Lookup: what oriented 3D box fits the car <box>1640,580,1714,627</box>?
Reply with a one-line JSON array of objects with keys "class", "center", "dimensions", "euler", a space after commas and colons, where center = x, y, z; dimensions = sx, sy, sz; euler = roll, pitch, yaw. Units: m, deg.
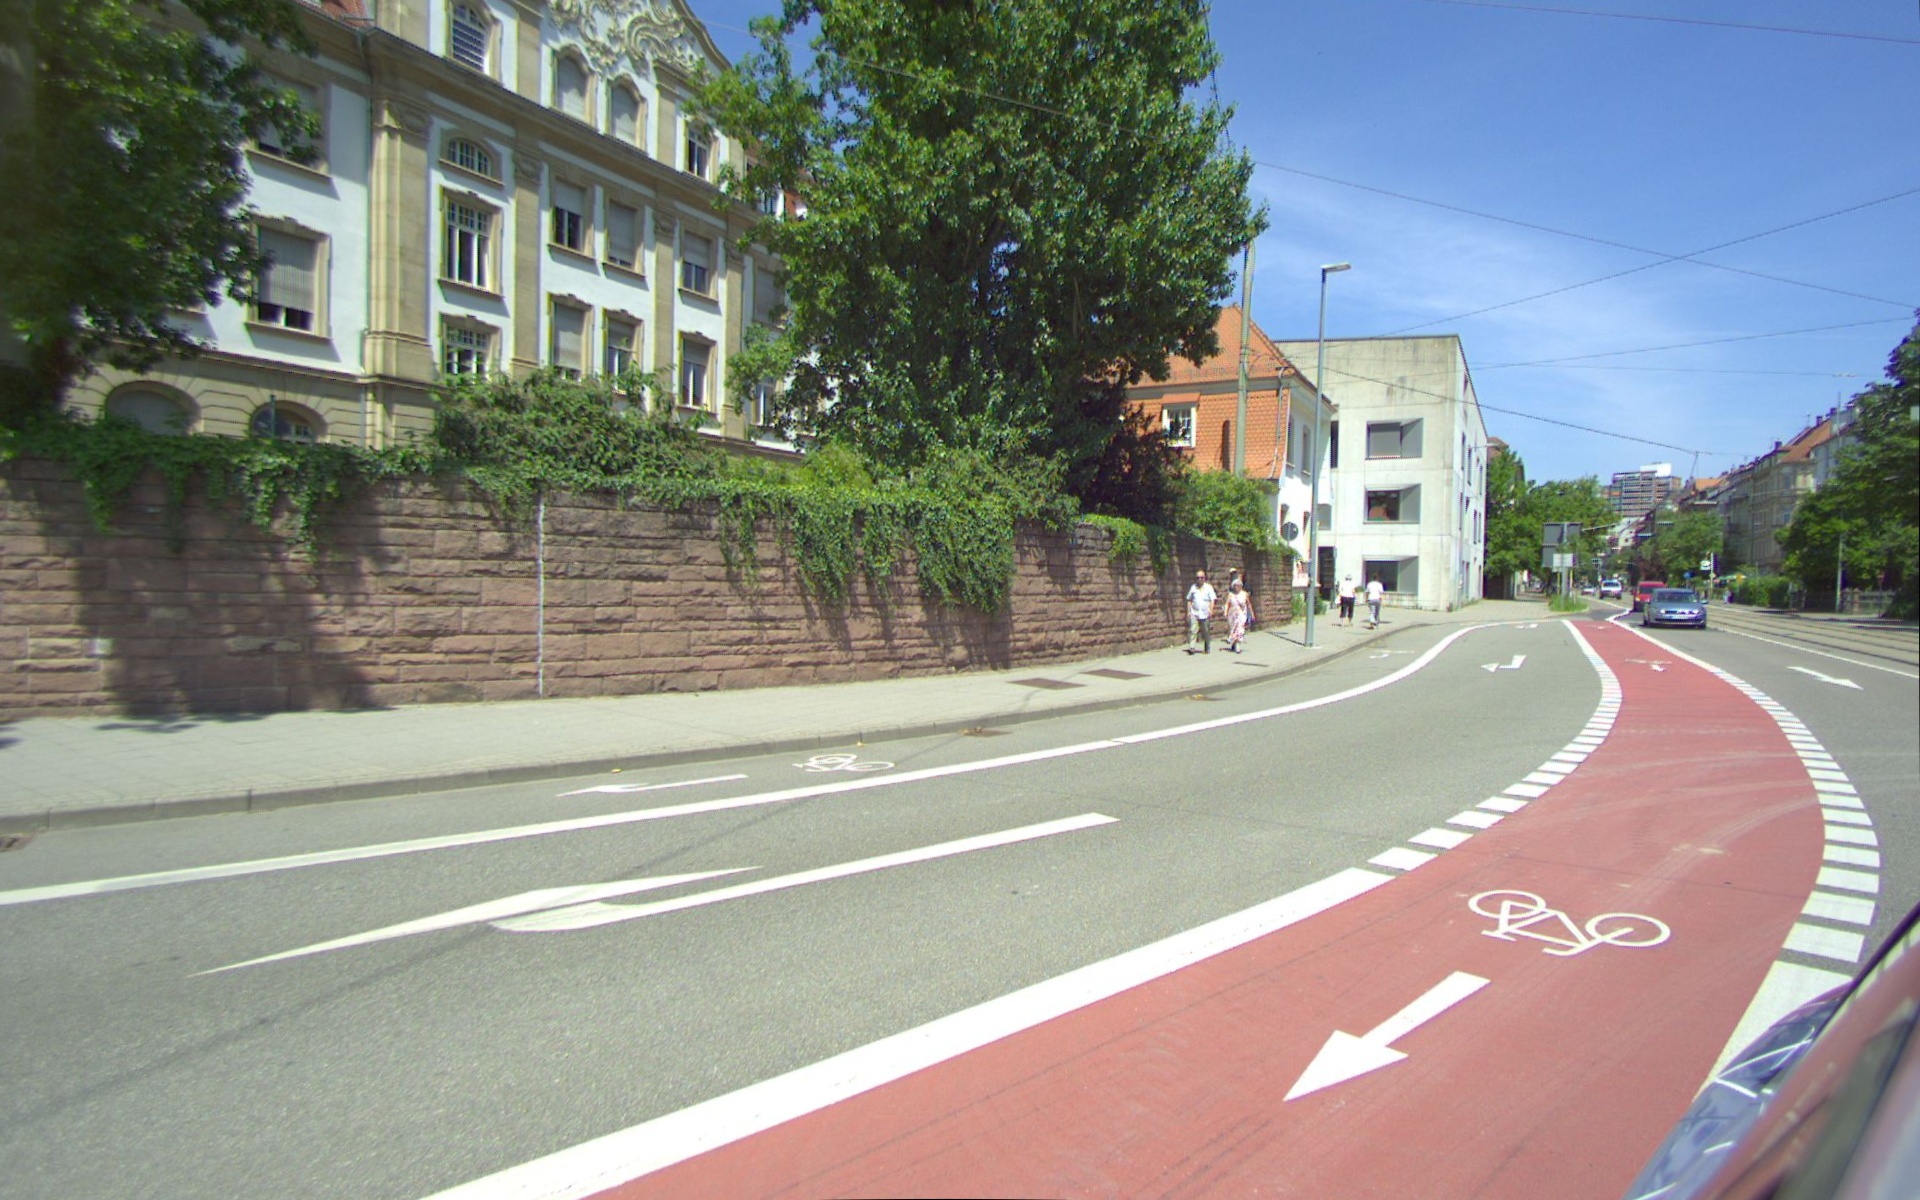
[{"class": "car", "center": [26.834, 0.087, 37.975], "dimensions": [1.879, 1.589, 3.995], "euler": [1, 3, 30]}]

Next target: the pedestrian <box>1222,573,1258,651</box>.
[{"class": "pedestrian", "center": [5.755, 0.231, 20.789], "dimensions": [0.514, 1.551, 0.590], "euler": [2, 2, 36]}]

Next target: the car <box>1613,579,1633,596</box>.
[{"class": "car", "center": [70.667, -1.391, 107.937], "dimensions": [1.608, 1.730, 3.392], "euler": [1, 2, 31]}]

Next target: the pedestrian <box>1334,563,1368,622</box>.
[{"class": "pedestrian", "center": [12.421, -0.252, 32.123], "dimensions": [0.811, 1.830, 0.691], "euler": [2, 2, 35]}]

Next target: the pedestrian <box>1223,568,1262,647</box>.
[{"class": "pedestrian", "center": [6.498, 0.161, 23.296], "dimensions": [0.712, 1.795, 0.623], "euler": [1, 0, 29]}]

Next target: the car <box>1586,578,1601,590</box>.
[{"class": "car", "center": [94.702, -2.462, 151.302], "dimensions": [1.870, 1.705, 3.330], "euler": [2, 3, 32]}]

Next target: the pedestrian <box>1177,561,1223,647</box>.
[{"class": "pedestrian", "center": [4.763, 0.069, 20.059], "dimensions": [0.659, 1.667, 0.616], "euler": [2, 2, 36]}]

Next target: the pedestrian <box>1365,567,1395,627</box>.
[{"class": "pedestrian", "center": [13.124, -0.093, 31.644], "dimensions": [0.675, 1.830, 0.738], "euler": [2, 2, 35]}]

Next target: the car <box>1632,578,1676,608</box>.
[{"class": "car", "center": [42.108, -0.460, 61.499], "dimensions": [1.860, 1.667, 3.740], "euler": [1, 2, 30]}]
